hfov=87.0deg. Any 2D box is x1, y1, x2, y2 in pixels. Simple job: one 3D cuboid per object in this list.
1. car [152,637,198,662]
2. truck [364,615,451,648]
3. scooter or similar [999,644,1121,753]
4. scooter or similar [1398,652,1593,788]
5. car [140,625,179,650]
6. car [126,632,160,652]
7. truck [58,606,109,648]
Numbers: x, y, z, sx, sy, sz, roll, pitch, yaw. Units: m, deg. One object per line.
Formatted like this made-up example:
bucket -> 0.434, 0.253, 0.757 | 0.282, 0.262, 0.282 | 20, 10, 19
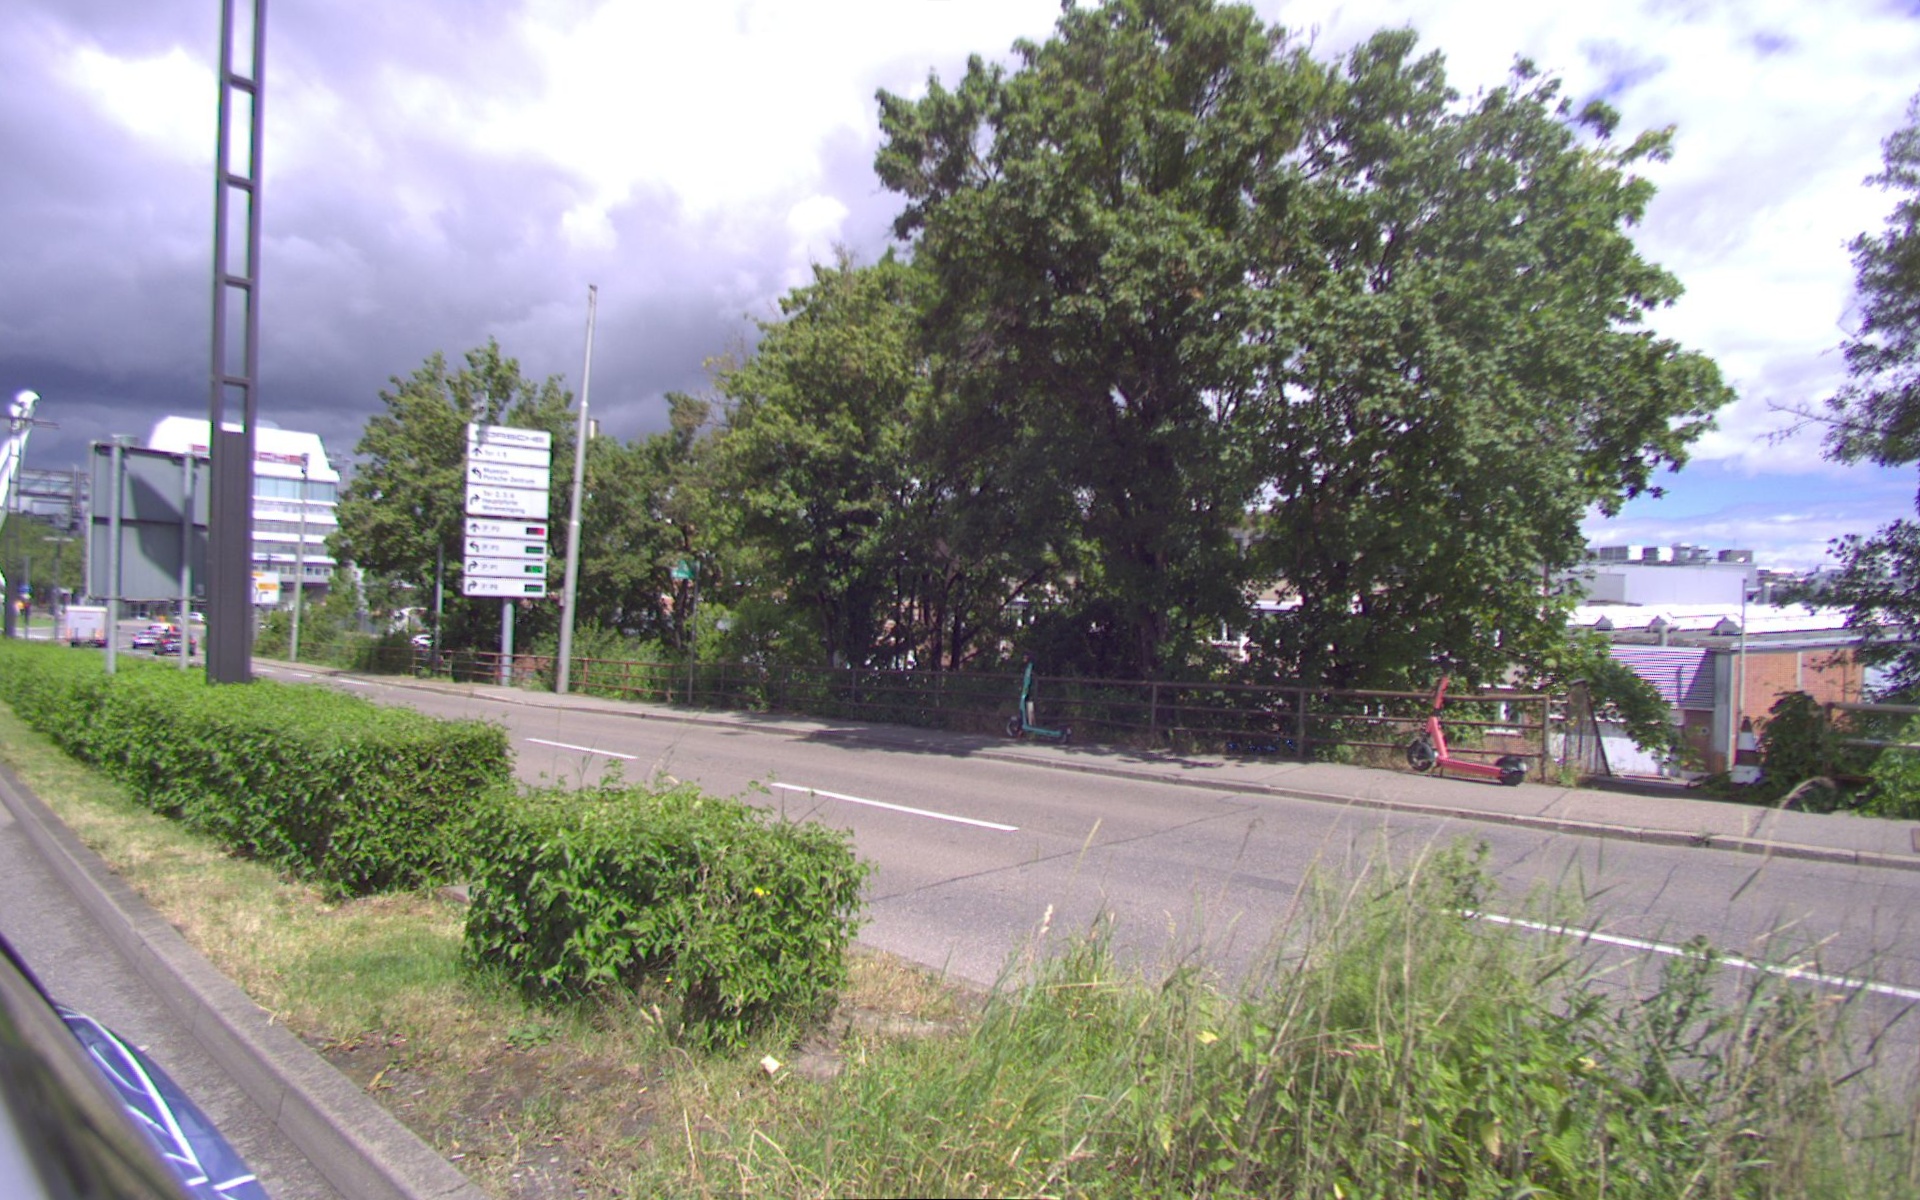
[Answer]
car -> -48.916, 3.063, 63.029 | 1.818, 1.519, 4.566 | 2, -3, -43
truck -> -65.462, 3.716, 120.028 | 8.854, 3.595, 2.363 | -1, -1, -3
scooter or similar -> 1.288, 1.249, 13.300 | 0.486, 1.314, 1.644 | 0, -1, -45
scooter or similar -> 5.305, 1.145, 10.101 | 0.486, 1.225, 1.644 | 2, -3, -45
car -> -66.333, 3.112, 83.887 | 1.966, 1.973, 4.641 | 1, -2, -32
car -> -62.758, 3.198, 77.809 | 1.772, 1.433, 4.502 | 3, -3, -36
truck -> -68.116, 2.168, 78.557 | 2.821, 2.879, 9.387 | 2, -4, -42
